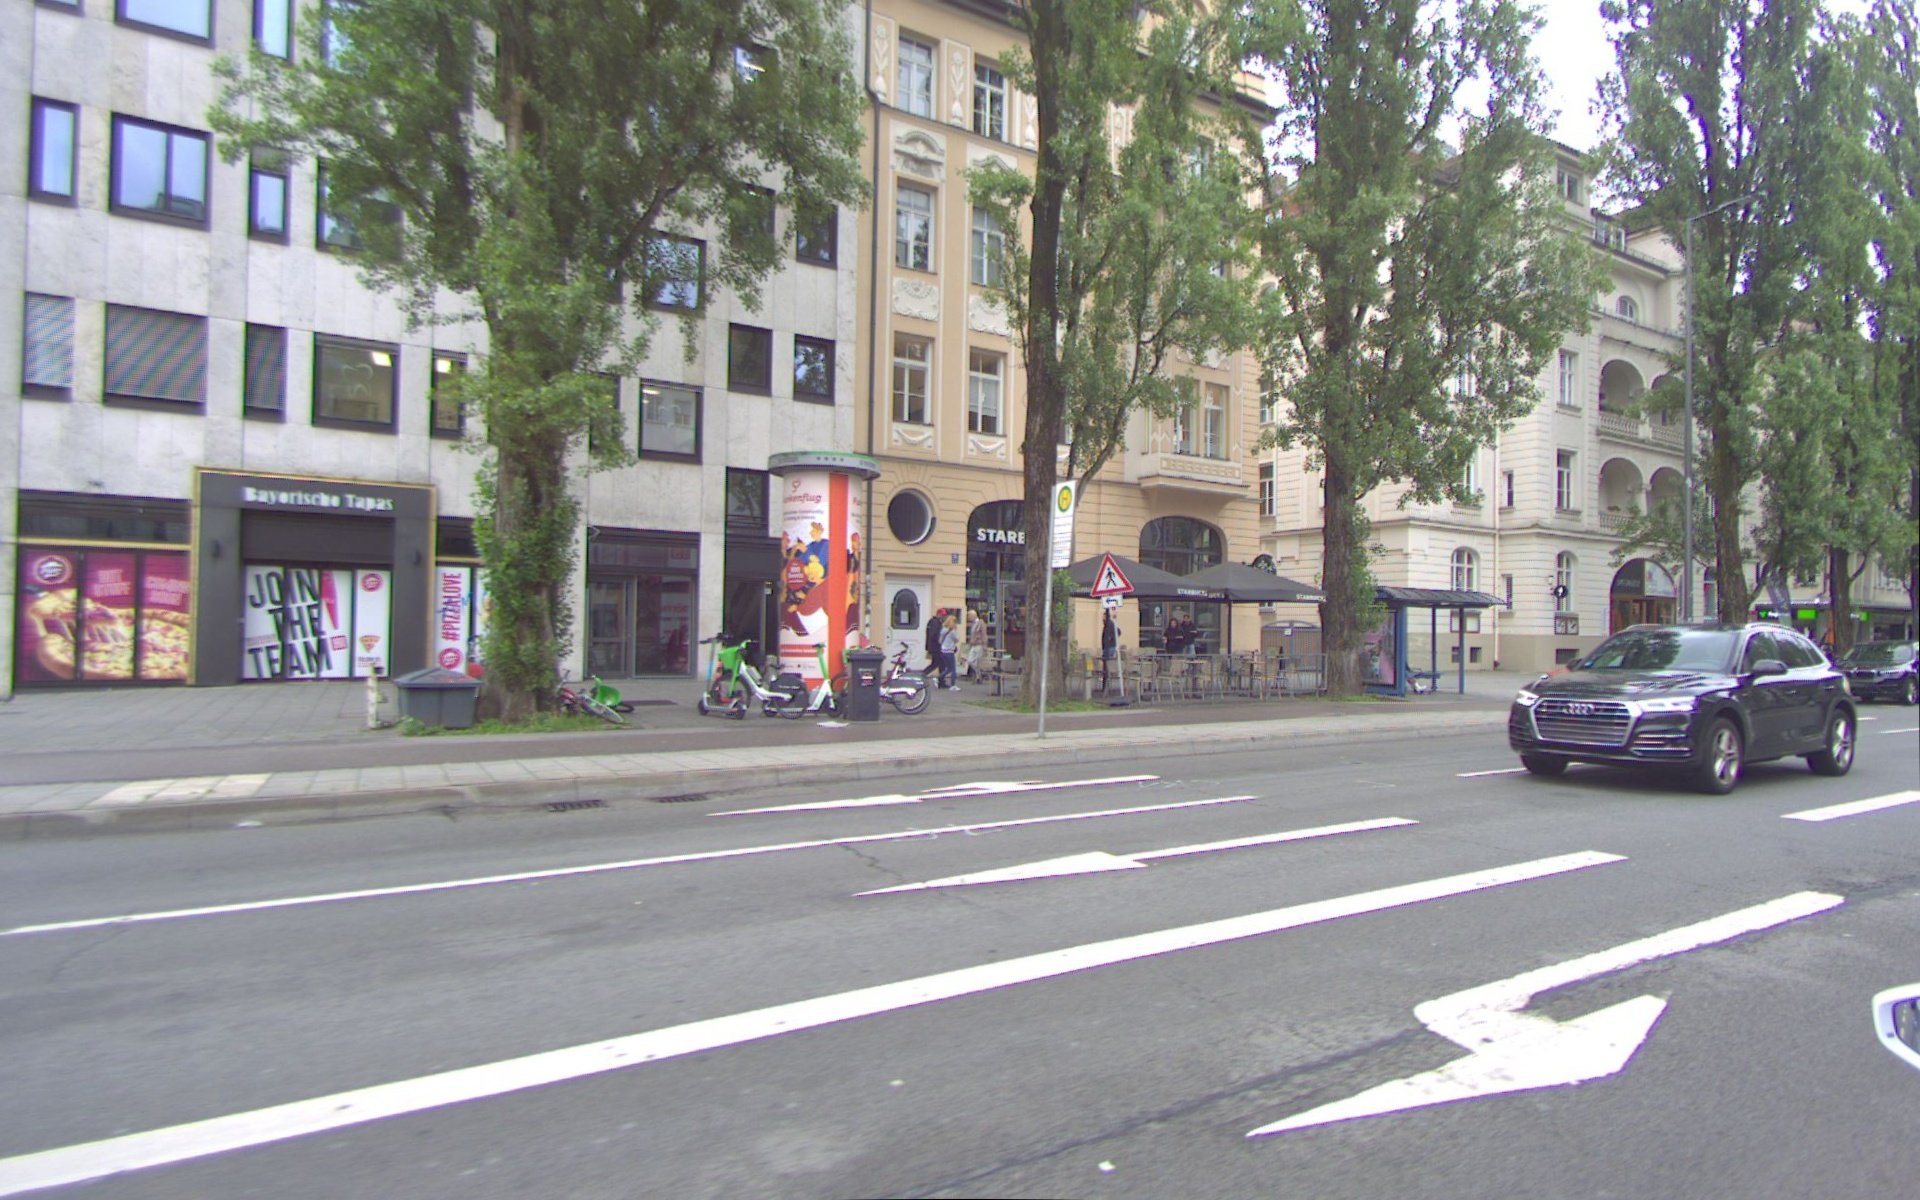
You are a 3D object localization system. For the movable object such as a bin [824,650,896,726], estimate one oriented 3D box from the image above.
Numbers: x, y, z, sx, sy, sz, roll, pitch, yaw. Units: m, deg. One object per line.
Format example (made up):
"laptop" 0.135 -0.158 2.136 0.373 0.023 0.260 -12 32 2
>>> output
"movable object such as a bin" -1.514 1.316 15.275 0.712 1.055 0.854 2 0 31

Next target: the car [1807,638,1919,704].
"car" 24.941 1.842 27.046 4.661 1.639 1.811 1 -2 -31

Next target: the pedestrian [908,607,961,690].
"pedestrian" -0.586 1.086 22.700 0.901 1.811 0.796 1 0 -30

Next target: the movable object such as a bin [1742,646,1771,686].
"movable object such as a bin" 27.012 2.231 34.081 0.579 1.333 0.602 1 -1 -30

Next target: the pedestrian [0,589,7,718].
"pedestrian" -13.427 0.723 13.335 0.931 1.763 0.723 2 0 -31

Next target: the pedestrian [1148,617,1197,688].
"pedestrian" 5.513 1.352 26.103 0.809 1.767 0.903 2 0 -25

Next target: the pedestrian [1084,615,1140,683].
"pedestrian" 3.995 1.274 26.467 0.978 1.707 1.076 2 0 -30

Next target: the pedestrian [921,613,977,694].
"pedestrian" -0.246 1.148 21.968 0.966 1.704 0.728 1 0 -31

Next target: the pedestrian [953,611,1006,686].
"pedestrian" 0.477 1.171 24.382 0.943 1.767 0.840 2 0 -29

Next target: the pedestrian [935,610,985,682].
"pedestrian" -0.006 1.164 25.514 0.943 1.767 0.840 2 0 -29

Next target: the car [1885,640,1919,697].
"car" 29.306 2.015 29.576 4.577 1.615 1.794 2 -3 -31

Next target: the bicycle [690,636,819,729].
"bicycle" -3.178 1.247 15.546 1.915 1.307 0.508 2 0 17

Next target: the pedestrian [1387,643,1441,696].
"pedestrian" 11.535 1.742 25.534 0.748 1.273 0.957 1 0 -28

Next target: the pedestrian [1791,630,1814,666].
"pedestrian" 40.851 2.317 48.718 0.817 1.744 0.622 2 -2 -31

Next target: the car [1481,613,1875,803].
"car" 7.951 1.016 11.027 4.533 1.703 1.904 1 -1 -31

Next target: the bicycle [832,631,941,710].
"bicycle" -1.314 1.232 17.898 1.919 1.318 0.584 0 -1 29

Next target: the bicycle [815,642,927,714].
"bicycle" -1.456 1.279 16.491 1.776 1.102 0.507 2 0 -7

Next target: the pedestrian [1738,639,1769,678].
"pedestrian" 32.815 2.411 41.550 0.795 1.558 0.764 2 0 -31

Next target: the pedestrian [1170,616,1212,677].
"pedestrian" 6.818 1.353 29.627 0.809 1.767 0.903 1 -1 -25

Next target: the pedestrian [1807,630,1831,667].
"pedestrian" 41.195 2.319 48.166 0.817 1.744 0.622 2 -2 -31

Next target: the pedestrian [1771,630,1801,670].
"pedestrian" 35.263 2.132 42.884 0.941 1.695 0.730 1 -1 -31

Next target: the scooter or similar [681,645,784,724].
"scooter or similar" -3.420 1.250 15.088 1.531 1.128 0.389 0 -1 20

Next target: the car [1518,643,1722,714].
"car" 13.580 1.559 20.654 4.045 1.315 1.871 2 -2 -29

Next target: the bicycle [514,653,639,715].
"bicycle" -5.688 1.223 14.851 1.926 0.515 0.830 2 -22 42
